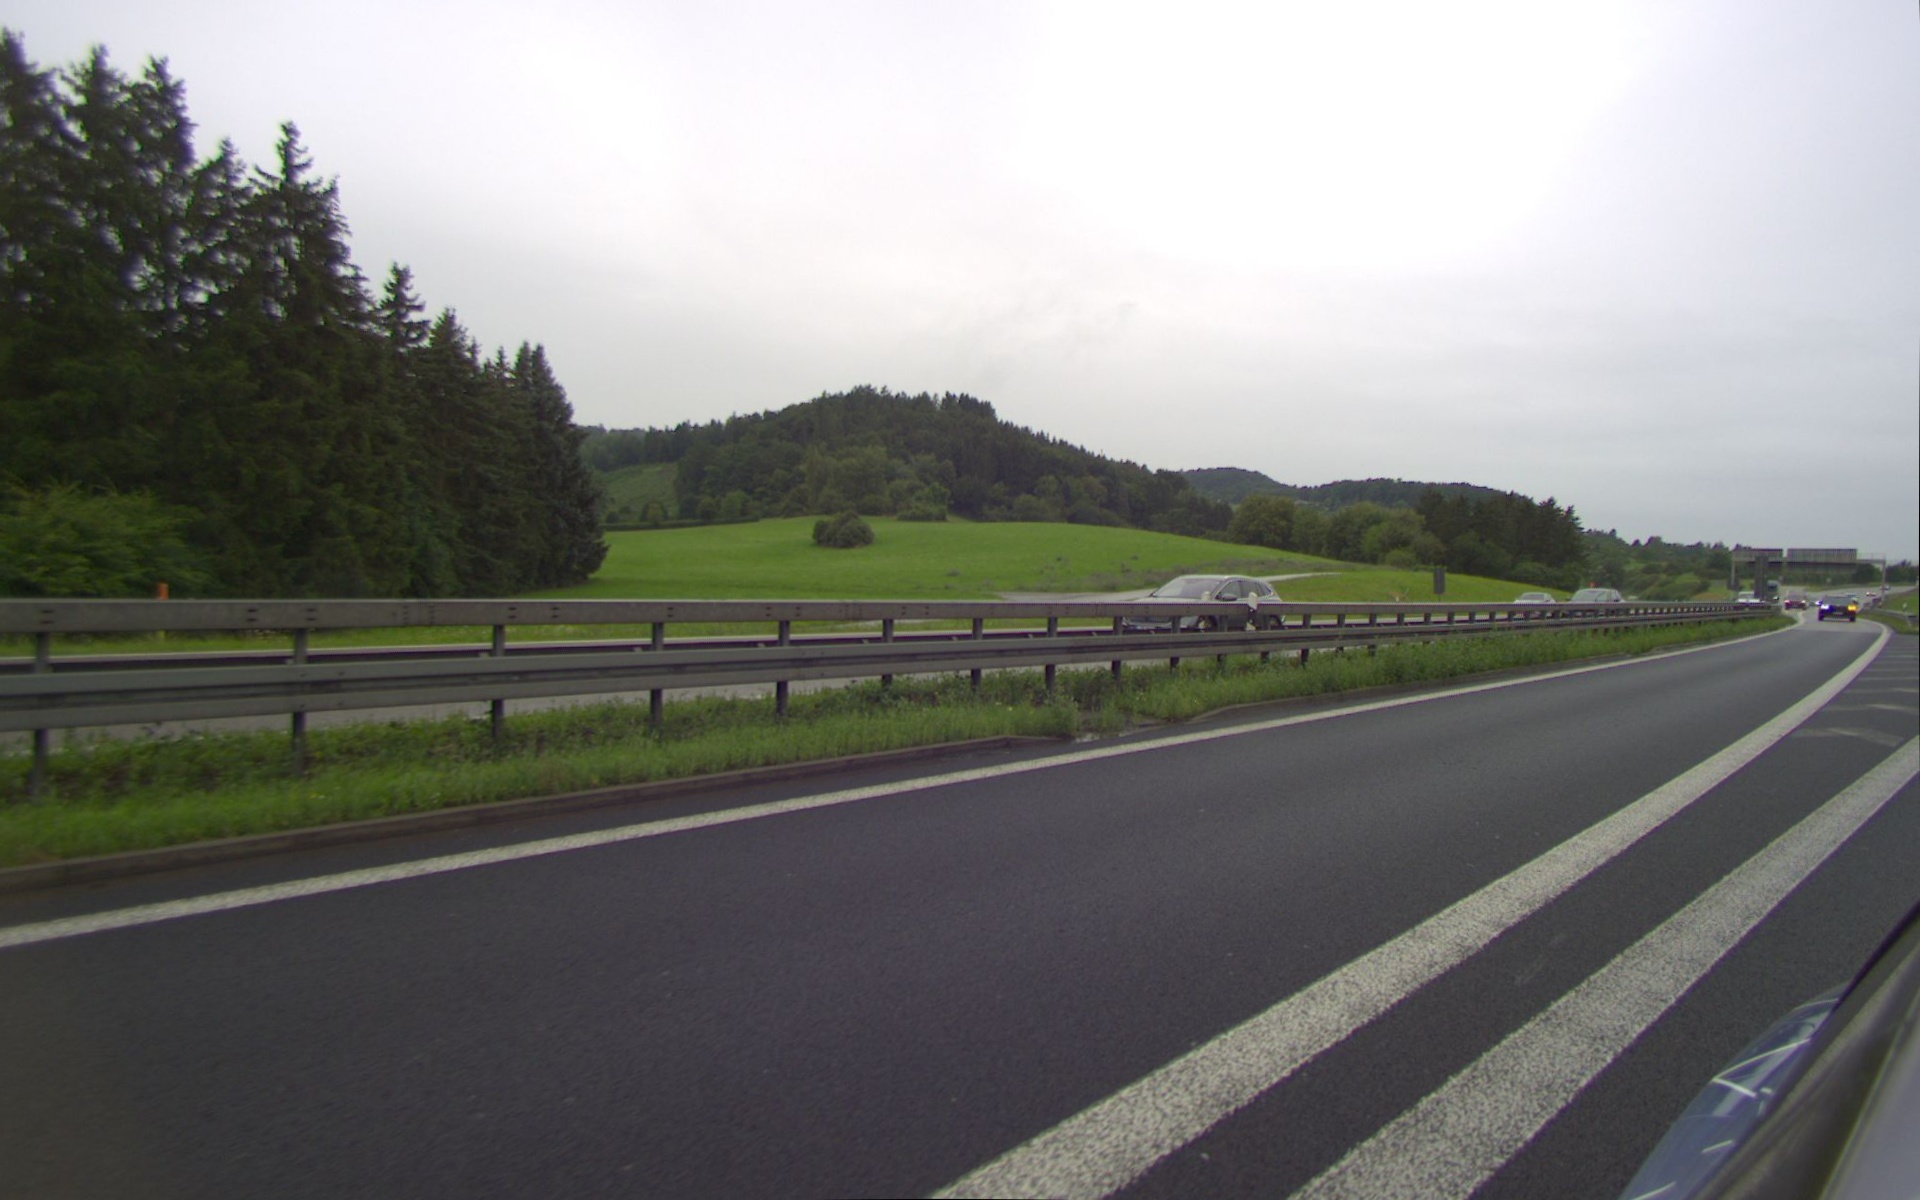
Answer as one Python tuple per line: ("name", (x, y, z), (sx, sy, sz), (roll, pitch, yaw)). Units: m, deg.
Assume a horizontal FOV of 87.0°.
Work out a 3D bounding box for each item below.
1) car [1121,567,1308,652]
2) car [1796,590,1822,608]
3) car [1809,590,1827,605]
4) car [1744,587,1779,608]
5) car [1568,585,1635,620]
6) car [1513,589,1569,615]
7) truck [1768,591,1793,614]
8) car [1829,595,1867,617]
("car", (5.503, 0.153, 21.507), (4.568, 1.630, 1.771), (-1, 1, -45))
("car", (100.228, -0.171, 119.428), (2.123, 2.039, 4.999), (1, 1, 42))
("car", (127.037, -0.388, 149.851), (1.823, 2.049, 3.936), (1, 1, 44))
("car", (68.932, -0.241, 87.015), (1.909, 1.715, 4.643), (1, 1, 44))
("car", (26.955, 0.061, 42.471), (1.666, 1.400, 4.062), (1, 1, 43))
("car", (35.492, 0.093, 61.764), (1.899, 1.473, 4.634), (1, 1, 44))
("truck", (147.900, 0.352, 182.453), (2.791, 3.949, 9.871), (0, 1, 43))
("car", (59.536, 0.377, 67.870), (1.860, 1.374, 4.499), (1, 1, 41))
